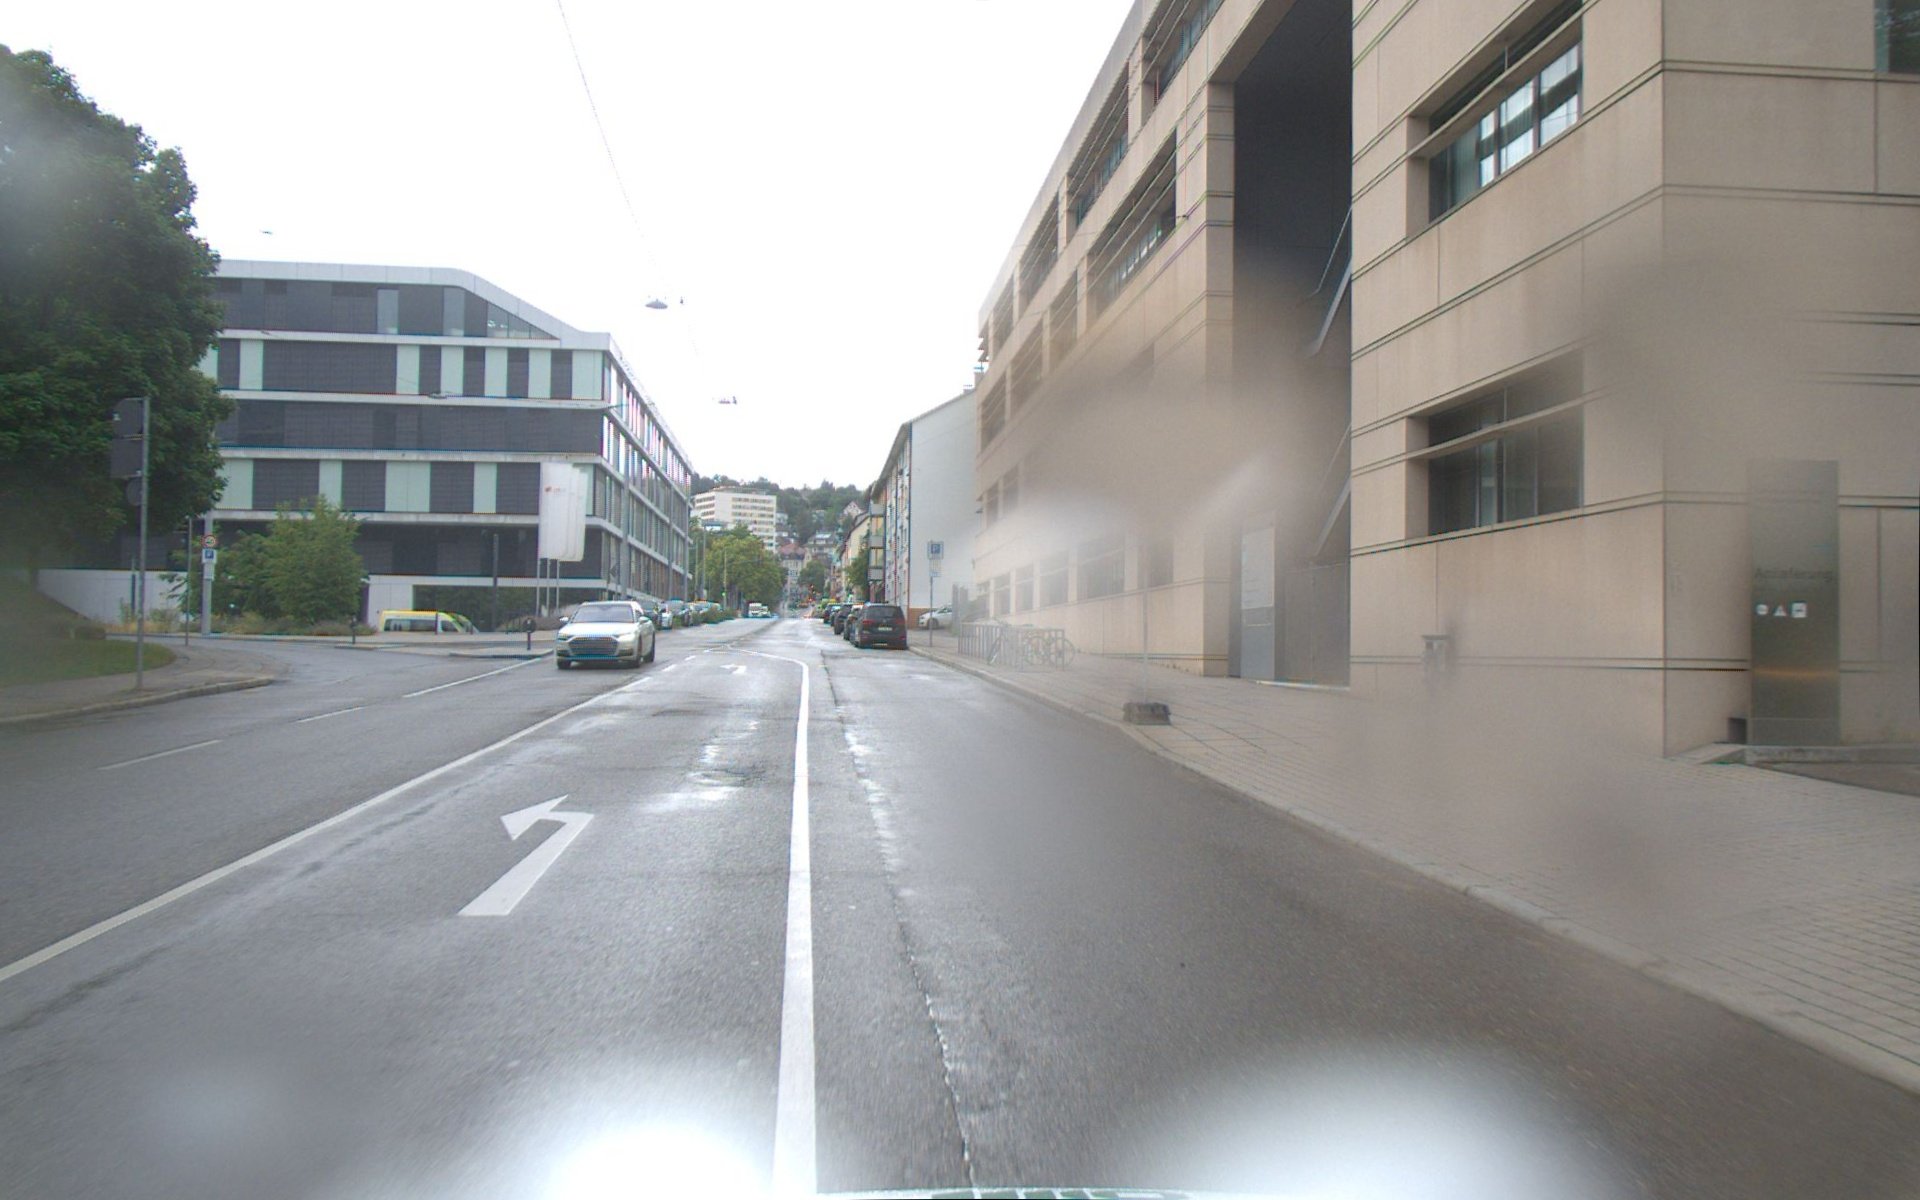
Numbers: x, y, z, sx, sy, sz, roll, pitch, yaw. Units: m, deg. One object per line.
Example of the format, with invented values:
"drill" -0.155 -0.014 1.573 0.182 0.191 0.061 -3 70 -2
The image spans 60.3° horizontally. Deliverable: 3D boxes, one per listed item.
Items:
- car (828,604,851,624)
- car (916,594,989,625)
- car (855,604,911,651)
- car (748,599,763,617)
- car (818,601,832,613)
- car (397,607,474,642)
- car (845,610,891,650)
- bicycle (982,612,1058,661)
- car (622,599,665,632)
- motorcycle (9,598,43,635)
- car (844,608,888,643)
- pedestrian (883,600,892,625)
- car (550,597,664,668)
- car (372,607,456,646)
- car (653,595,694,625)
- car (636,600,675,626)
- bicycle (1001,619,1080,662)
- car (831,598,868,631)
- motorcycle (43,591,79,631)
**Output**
"car" -9.356 1.082 128.535 1.673 1.480 3.979 2 -1 -6
"car" -0.503 0.578 103.577 4.353 1.742 1.902 -2 0 -6
"car" -2.905 1.010 61.796 1.737 1.632 4.387 2 -1 -7
"car" -31.495 1.255 254.614 2.065 2.591 4.742 2 -1 -8
"car" -19.174 0.984 235.502 1.829 1.632 4.187 1 -1 -3
"car" -32.714 1.530 103.295 4.258 2.068 1.596 2 -1 -6
"car" -3.906 1.259 70.030 1.692 1.539 4.052 3 -1 -6
"bicycle" 1.428 0.856 39.280 1.698 1.138 0.658 1 -1 -11
"car" -16.913 0.838 88.604 1.813 1.646 4.485 2 -1 -5
"motorcycle" -29.398 0.529 52.044 1.145 1.145 0.412 -1 -2 33
"car" -4.420 1.188 77.319 1.710 1.560 4.313 2 -1 -7
"pedestrian" -5.479 0.942 124.393 0.626 1.903 0.538 1 -1 -4
"car" -8.352 0.719 39.560 1.844 1.517 5.216 -1 0 -3
"car" -32.727 1.614 99.197 4.508 2.212 1.926 2 -1 -12
"car" -18.195 0.632 105.240 1.924 1.781 4.938 1 -1 -3
"car" -17.494 0.756 95.125 1.785 1.443 4.397 2 -1 -5
"bicycle" 1.864 0.943 38.340 1.726 0.970 0.658 1 -1 -9
"car" -6.328 0.840 94.097 1.898 1.781 4.790 2 -1 -6
"motorcycle" -27.601 0.332 50.776 1.201 1.206 0.412 1 -1 32
